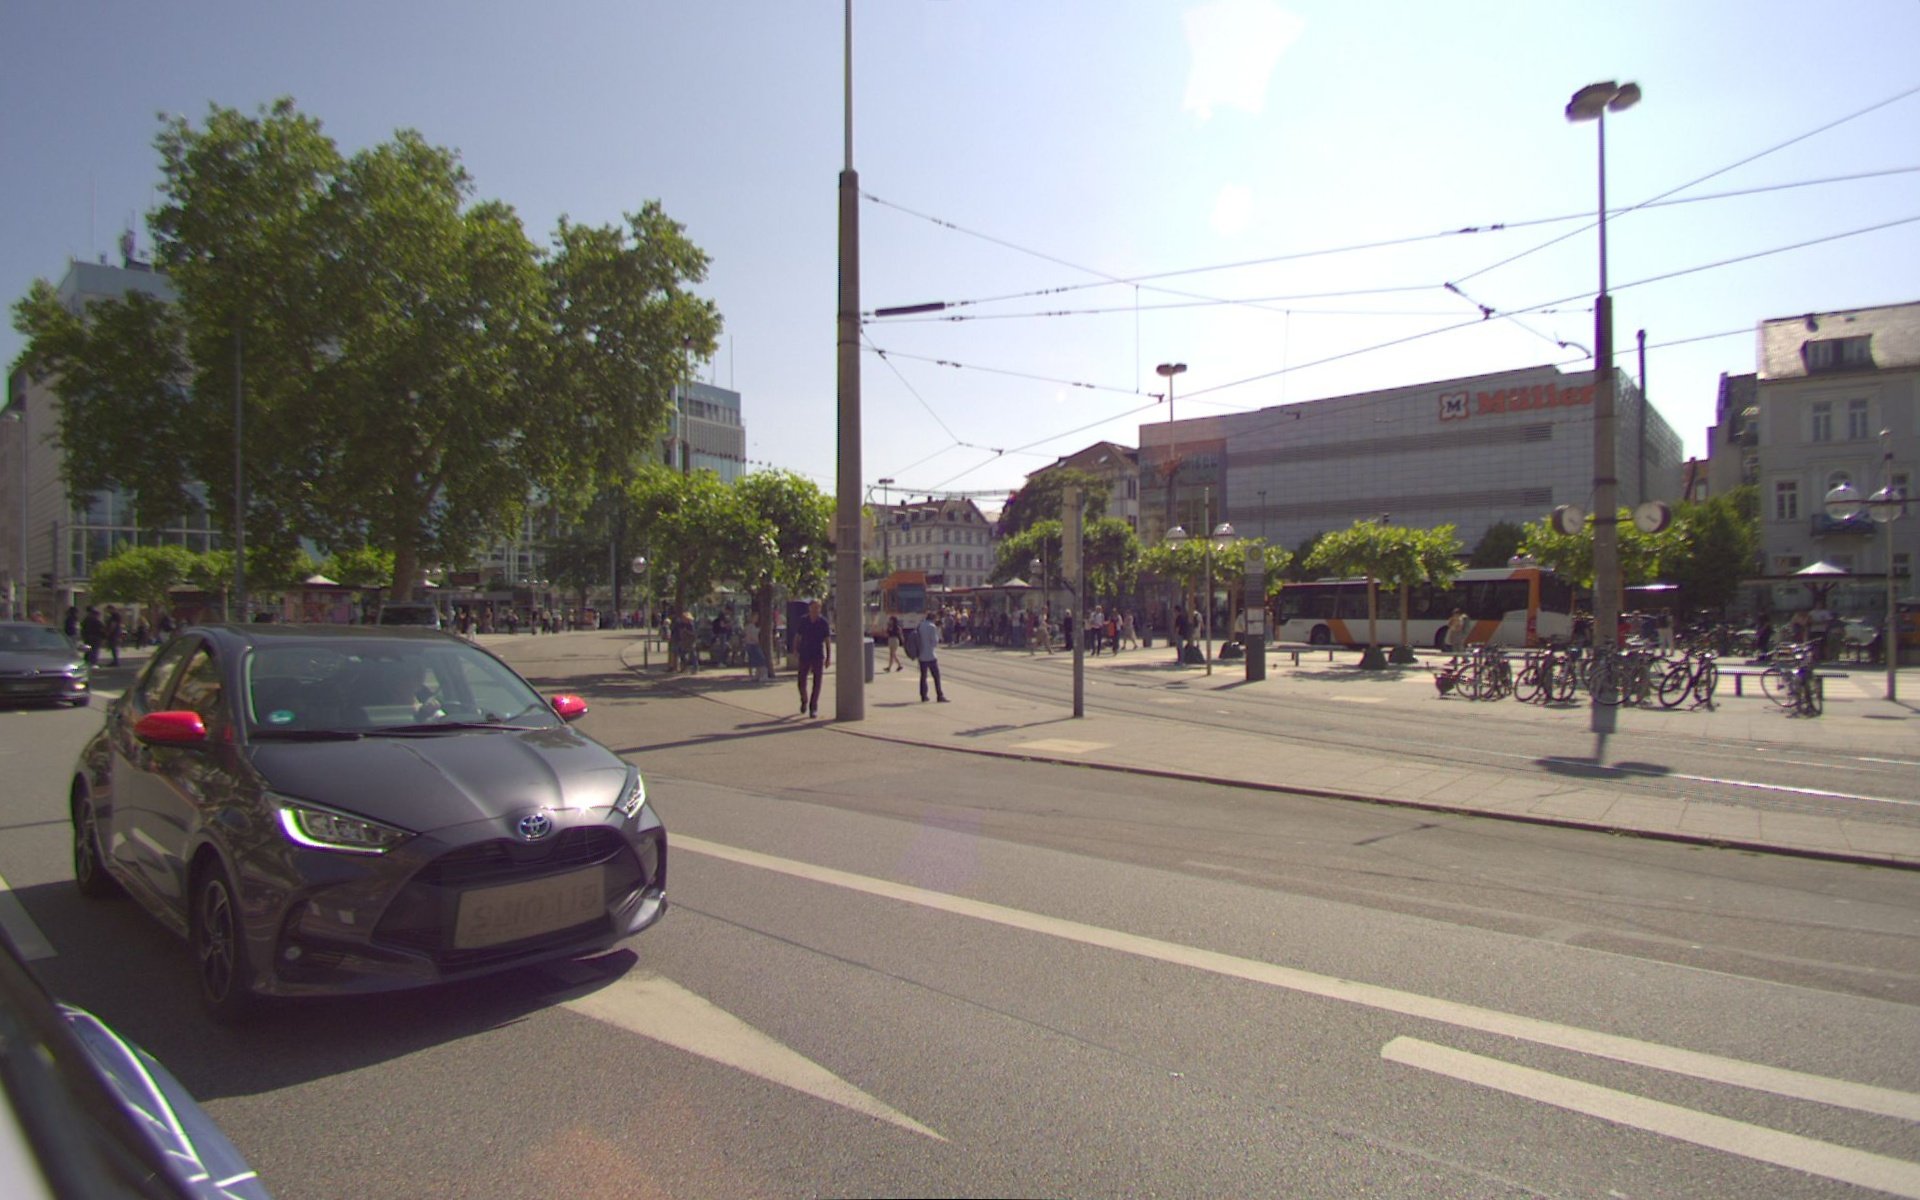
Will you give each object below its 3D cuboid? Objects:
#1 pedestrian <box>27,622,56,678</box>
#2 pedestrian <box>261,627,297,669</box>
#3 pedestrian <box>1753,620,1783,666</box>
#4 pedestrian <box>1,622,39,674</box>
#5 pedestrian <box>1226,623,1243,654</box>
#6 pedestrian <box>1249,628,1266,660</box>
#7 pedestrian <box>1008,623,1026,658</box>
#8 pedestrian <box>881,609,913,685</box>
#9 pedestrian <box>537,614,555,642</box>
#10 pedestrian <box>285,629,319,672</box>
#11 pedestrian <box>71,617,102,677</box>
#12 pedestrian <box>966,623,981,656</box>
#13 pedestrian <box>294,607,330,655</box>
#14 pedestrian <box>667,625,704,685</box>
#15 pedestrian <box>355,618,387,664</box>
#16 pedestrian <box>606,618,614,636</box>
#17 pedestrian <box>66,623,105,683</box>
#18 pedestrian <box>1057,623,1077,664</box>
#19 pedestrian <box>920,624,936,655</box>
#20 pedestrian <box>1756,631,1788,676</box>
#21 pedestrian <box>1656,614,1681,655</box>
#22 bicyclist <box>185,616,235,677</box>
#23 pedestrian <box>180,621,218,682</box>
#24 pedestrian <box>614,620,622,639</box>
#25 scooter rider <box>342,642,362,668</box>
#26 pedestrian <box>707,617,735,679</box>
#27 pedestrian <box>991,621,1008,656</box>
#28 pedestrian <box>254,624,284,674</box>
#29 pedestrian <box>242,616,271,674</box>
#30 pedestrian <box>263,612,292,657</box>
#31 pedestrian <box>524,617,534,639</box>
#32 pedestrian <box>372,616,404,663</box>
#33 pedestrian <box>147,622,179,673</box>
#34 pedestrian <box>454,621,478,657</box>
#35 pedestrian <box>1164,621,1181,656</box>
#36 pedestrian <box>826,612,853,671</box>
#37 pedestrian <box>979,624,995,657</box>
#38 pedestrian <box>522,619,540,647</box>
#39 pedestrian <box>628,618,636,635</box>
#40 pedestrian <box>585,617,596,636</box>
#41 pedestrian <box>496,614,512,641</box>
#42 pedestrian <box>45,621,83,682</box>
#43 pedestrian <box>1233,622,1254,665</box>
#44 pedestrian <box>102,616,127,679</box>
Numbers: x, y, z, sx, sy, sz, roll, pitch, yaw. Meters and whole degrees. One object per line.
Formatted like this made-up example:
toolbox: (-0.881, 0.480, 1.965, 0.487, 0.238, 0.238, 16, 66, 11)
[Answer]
pedestrian: (-29.633, 1.594, 32.650, 0.752, 1.760, 0.605, -2, -1, 39)
pedestrian: (-23.774, 1.669, 35.337, 0.780, 1.418, 0.744, -2, 0, 31)
pedestrian: (26.229, 1.412, 32.866, 0.622, 1.477, 0.578, -2, -4, 29)
pedestrian: (-33.032, 1.669, 35.558, 0.732, 1.760, 0.865, -2, 0, 39)
pedestrian: (13.821, 1.942, 50.973, 0.840, 1.561, 0.677, 0, -4, 14)
pedestrian: (13.976, 2.073, 47.514, 0.672, 1.477, 0.623, 0, -4, 7)
pedestrian: (2.609, 1.846, 46.216, 0.675, 1.561, 0.575, -1, -4, 17)
pedestrian: (-1.715, 1.252, 27.422, 0.563, 2.023, 0.686, -1, -1, 32)
pedestrian: (-26.919, 1.839, 65.769, 0.780, 1.760, 0.744, -2, 0, 31)
pedestrian: (-22.838, 1.747, 35.109, 0.671, 1.435, 0.744, -2, 0, 31)
pedestrian: (-27.310, 1.457, 31.639, 0.738, 1.860, 0.587, -2, -3, 39)
pedestrian: (0.672, 1.914, 49.113, 0.573, 1.561, 0.677, 0, -4, 14)
pedestrian: (-22.218, 1.047, 34.717, 0.780, 1.608, 0.744, -2, 0, 31)
pedestrian: (-7.101, 1.433, 26.208, 0.680, 1.536, 0.616, -3, -5, 41)
pedestrian: (-22.767, 1.583, 39.138, 0.780, 1.760, 0.744, -2, 0, 31)
pedestrian: (-29.578, 2.319, 85.598, 0.546, 1.483, 0.760, -2, 0, -13)
pedestrian: (-25.296, 1.523, 29.281, 0.620, 1.661, 0.754, -2, 0, -23)
pedestrian: (4.290, 1.744, 40.414, 0.675, 1.610, 0.621, -1, -4, 19)
pedestrian: (-1.649, 2.056, 52.312, 0.568, 1.561, 0.682, 2, -4, -23)
pedestrian: (27.069, 1.797, 33.748, 0.741, 1.477, 0.780, -2, -5, 36)
pedestrian: (25.763, 1.259, 36.814, 0.558, 1.477, 0.582, -1, -4, 22)
bicyclist: (-19.477, 1.196, 26.290, 1.161, 1.509, 0.820, -2, 0, 43)
pedestrian: (-21.788, 1.471, 28.980, 0.640, 1.704, 0.637, -2, 0, 28)
pedestrian: (-28.688, 2.469, 84.815, 0.546, 1.483, 0.760, -2, 0, -13)
scooter rider: (-20.390, 1.848, 33.932, 0.499, 0.845, 0.350, -2, 0, -16)
pedestrian: (-7.043, 1.427, 29.847, 0.671, 1.808, 0.625, 1, -4, -1)
pedestrian: (1.792, 1.750, 45.935, 0.675, 1.561, 0.575, -1, -4, 17)
pedestrian: (-25.135, 1.756, 36.825, 0.739, 1.760, 0.785, -2, 0, -23)
pedestrian: (-21.524, 1.368, 30.972, 0.516, 1.756, 0.511, -2, 0, 28)
pedestrian: (-27.476, 1.391, 40.766, 0.782, 1.760, 0.742, -2, 0, 39)
pedestrian: (-29.634, 1.899, 69.577, 0.410, 1.483, 0.459, -2, 0, 39)
pedestrian: (-21.895, 1.515, 38.712, 0.780, 1.760, 0.744, -2, 0, 31)
pedestrian: (-28.331, 1.670, 35.965, 0.666, 1.760, 0.742, -2, 0, 39)
pedestrian: (-24.752, 1.948, 50.687, 0.780, 1.760, 0.744, -2, 0, 31)
pedestrian: (9.178, 1.664, 43.753, 0.672, 1.477, 0.623, 0, -4, 7)
pedestrian: (-3.796, 1.317, 31.881, 0.605, 1.830, 0.570, -3, -5, 40)
pedestrian: (1.297, 1.941, 48.711, 0.675, 1.561, 0.575, -1, -4, 17)
pedestrian: (-27.861, 2.135, 65.747, 0.780, 1.760, 0.744, -2, 0, 31)
pedestrian: (-28.649, 2.316, 88.462, 0.546, 1.483, 0.760, -2, 0, -13)
pedestrian: (-29.347, 2.123, 80.388, 0.757, 1.483, 0.548, -2, 0, 40)
pedestrian: (-30.823, 1.860, 68.409, 0.740, 1.760, 0.784, -2, 0, -11)
pedestrian: (-26.914, 1.534, 30.409, 0.529, 1.796, 0.745, -2, 0, -14)
pedestrian: (9.990, 1.547, 35.661, 0.621, 1.477, 0.675, -1, -4, 25)
pedestrian: (-25.192, 1.398, 30.140, 0.510, 1.849, 0.716, -2, 0, -41)
